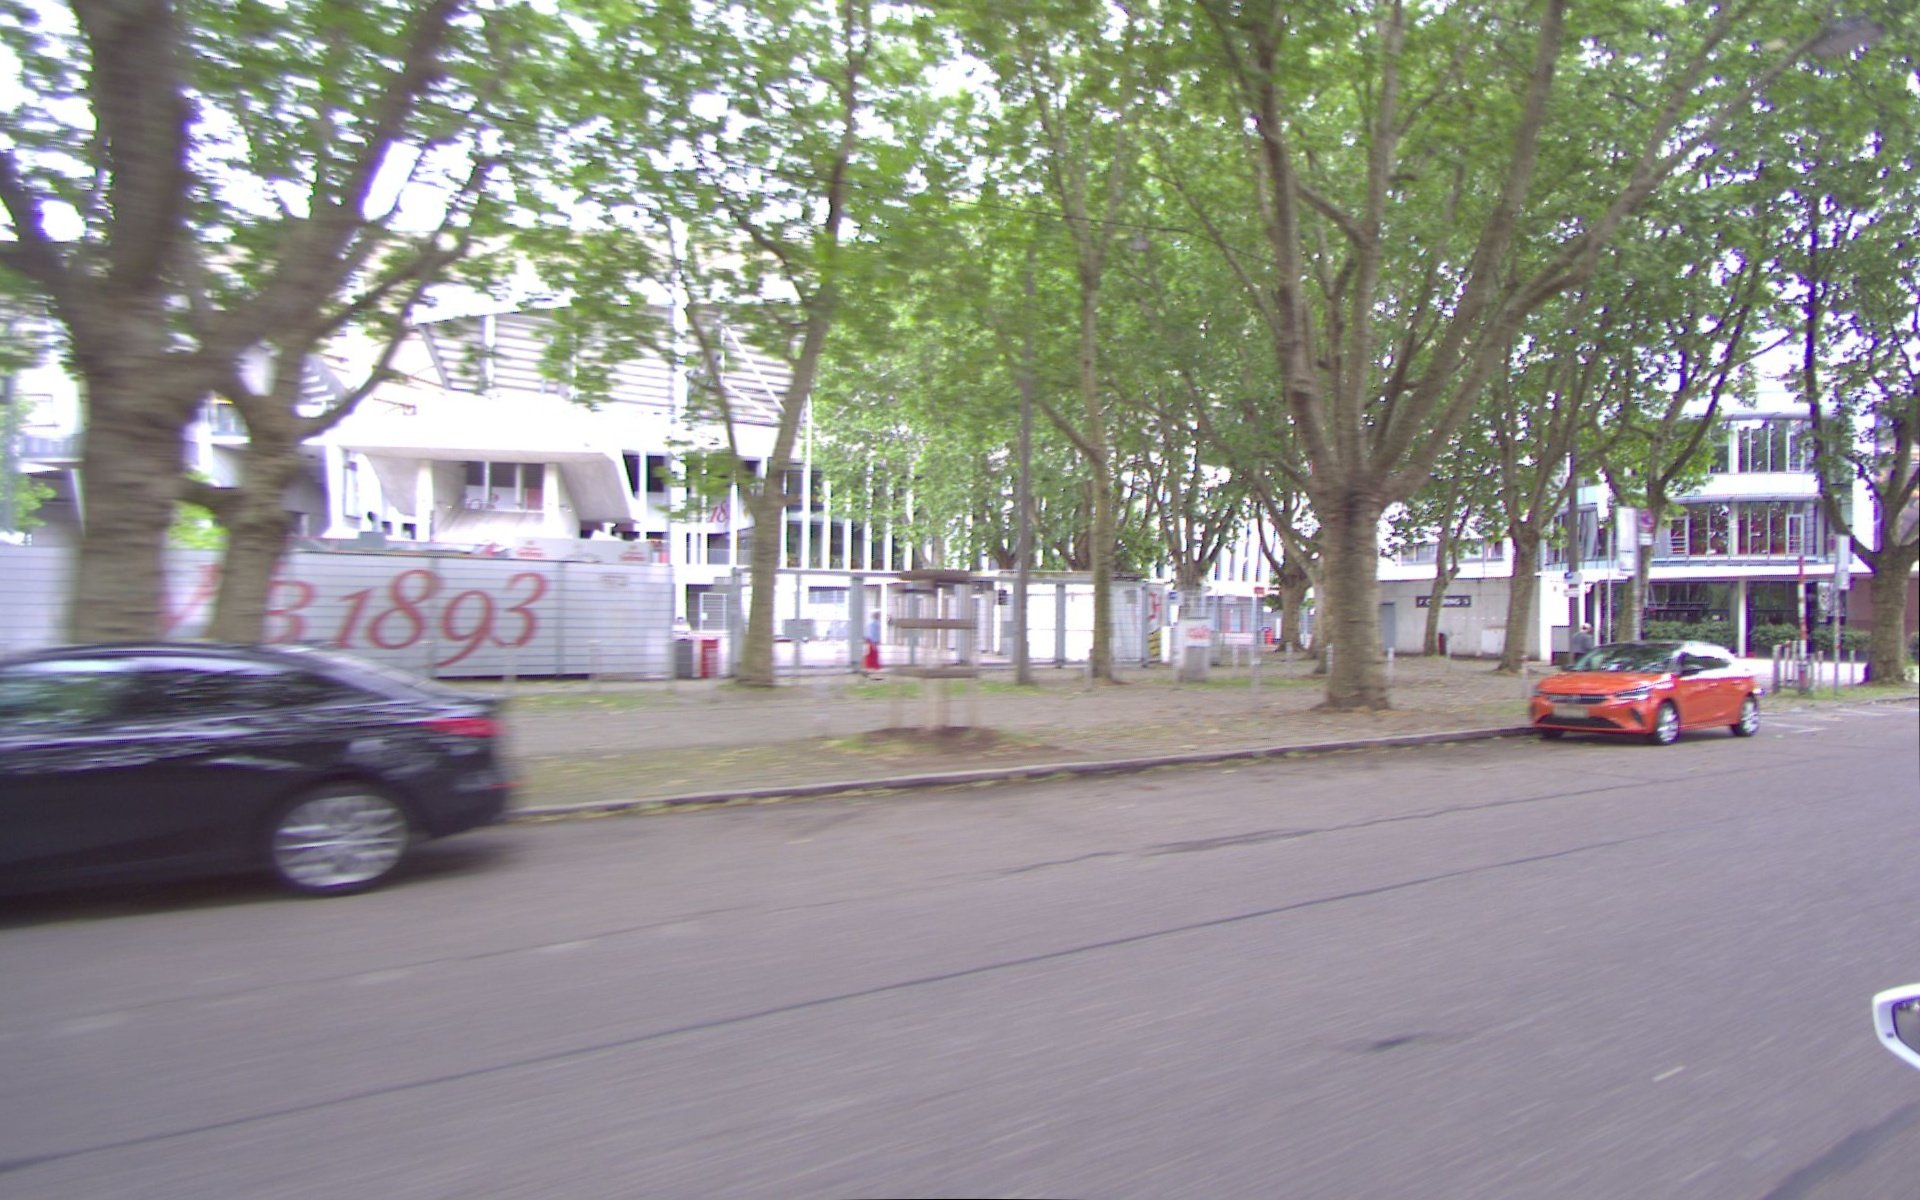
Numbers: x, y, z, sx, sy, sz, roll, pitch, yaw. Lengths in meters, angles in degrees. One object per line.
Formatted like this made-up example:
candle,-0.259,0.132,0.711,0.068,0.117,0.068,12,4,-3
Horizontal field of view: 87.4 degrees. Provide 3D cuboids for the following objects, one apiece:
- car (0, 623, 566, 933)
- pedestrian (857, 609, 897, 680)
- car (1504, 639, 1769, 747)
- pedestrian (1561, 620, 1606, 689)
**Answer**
car,-4.807,0.889,5.760,4.570,1.485,1.820,1,-2,-29
pedestrian,-1.870,0.990,22.626,0.652,1.564,0.664,1,-1,-30
car,10.204,1.297,15.104,3.953,1.372,1.799,1,-1,-31
pedestrian,15.191,1.324,24.467,0.780,1.641,0.591,1,-1,-21
